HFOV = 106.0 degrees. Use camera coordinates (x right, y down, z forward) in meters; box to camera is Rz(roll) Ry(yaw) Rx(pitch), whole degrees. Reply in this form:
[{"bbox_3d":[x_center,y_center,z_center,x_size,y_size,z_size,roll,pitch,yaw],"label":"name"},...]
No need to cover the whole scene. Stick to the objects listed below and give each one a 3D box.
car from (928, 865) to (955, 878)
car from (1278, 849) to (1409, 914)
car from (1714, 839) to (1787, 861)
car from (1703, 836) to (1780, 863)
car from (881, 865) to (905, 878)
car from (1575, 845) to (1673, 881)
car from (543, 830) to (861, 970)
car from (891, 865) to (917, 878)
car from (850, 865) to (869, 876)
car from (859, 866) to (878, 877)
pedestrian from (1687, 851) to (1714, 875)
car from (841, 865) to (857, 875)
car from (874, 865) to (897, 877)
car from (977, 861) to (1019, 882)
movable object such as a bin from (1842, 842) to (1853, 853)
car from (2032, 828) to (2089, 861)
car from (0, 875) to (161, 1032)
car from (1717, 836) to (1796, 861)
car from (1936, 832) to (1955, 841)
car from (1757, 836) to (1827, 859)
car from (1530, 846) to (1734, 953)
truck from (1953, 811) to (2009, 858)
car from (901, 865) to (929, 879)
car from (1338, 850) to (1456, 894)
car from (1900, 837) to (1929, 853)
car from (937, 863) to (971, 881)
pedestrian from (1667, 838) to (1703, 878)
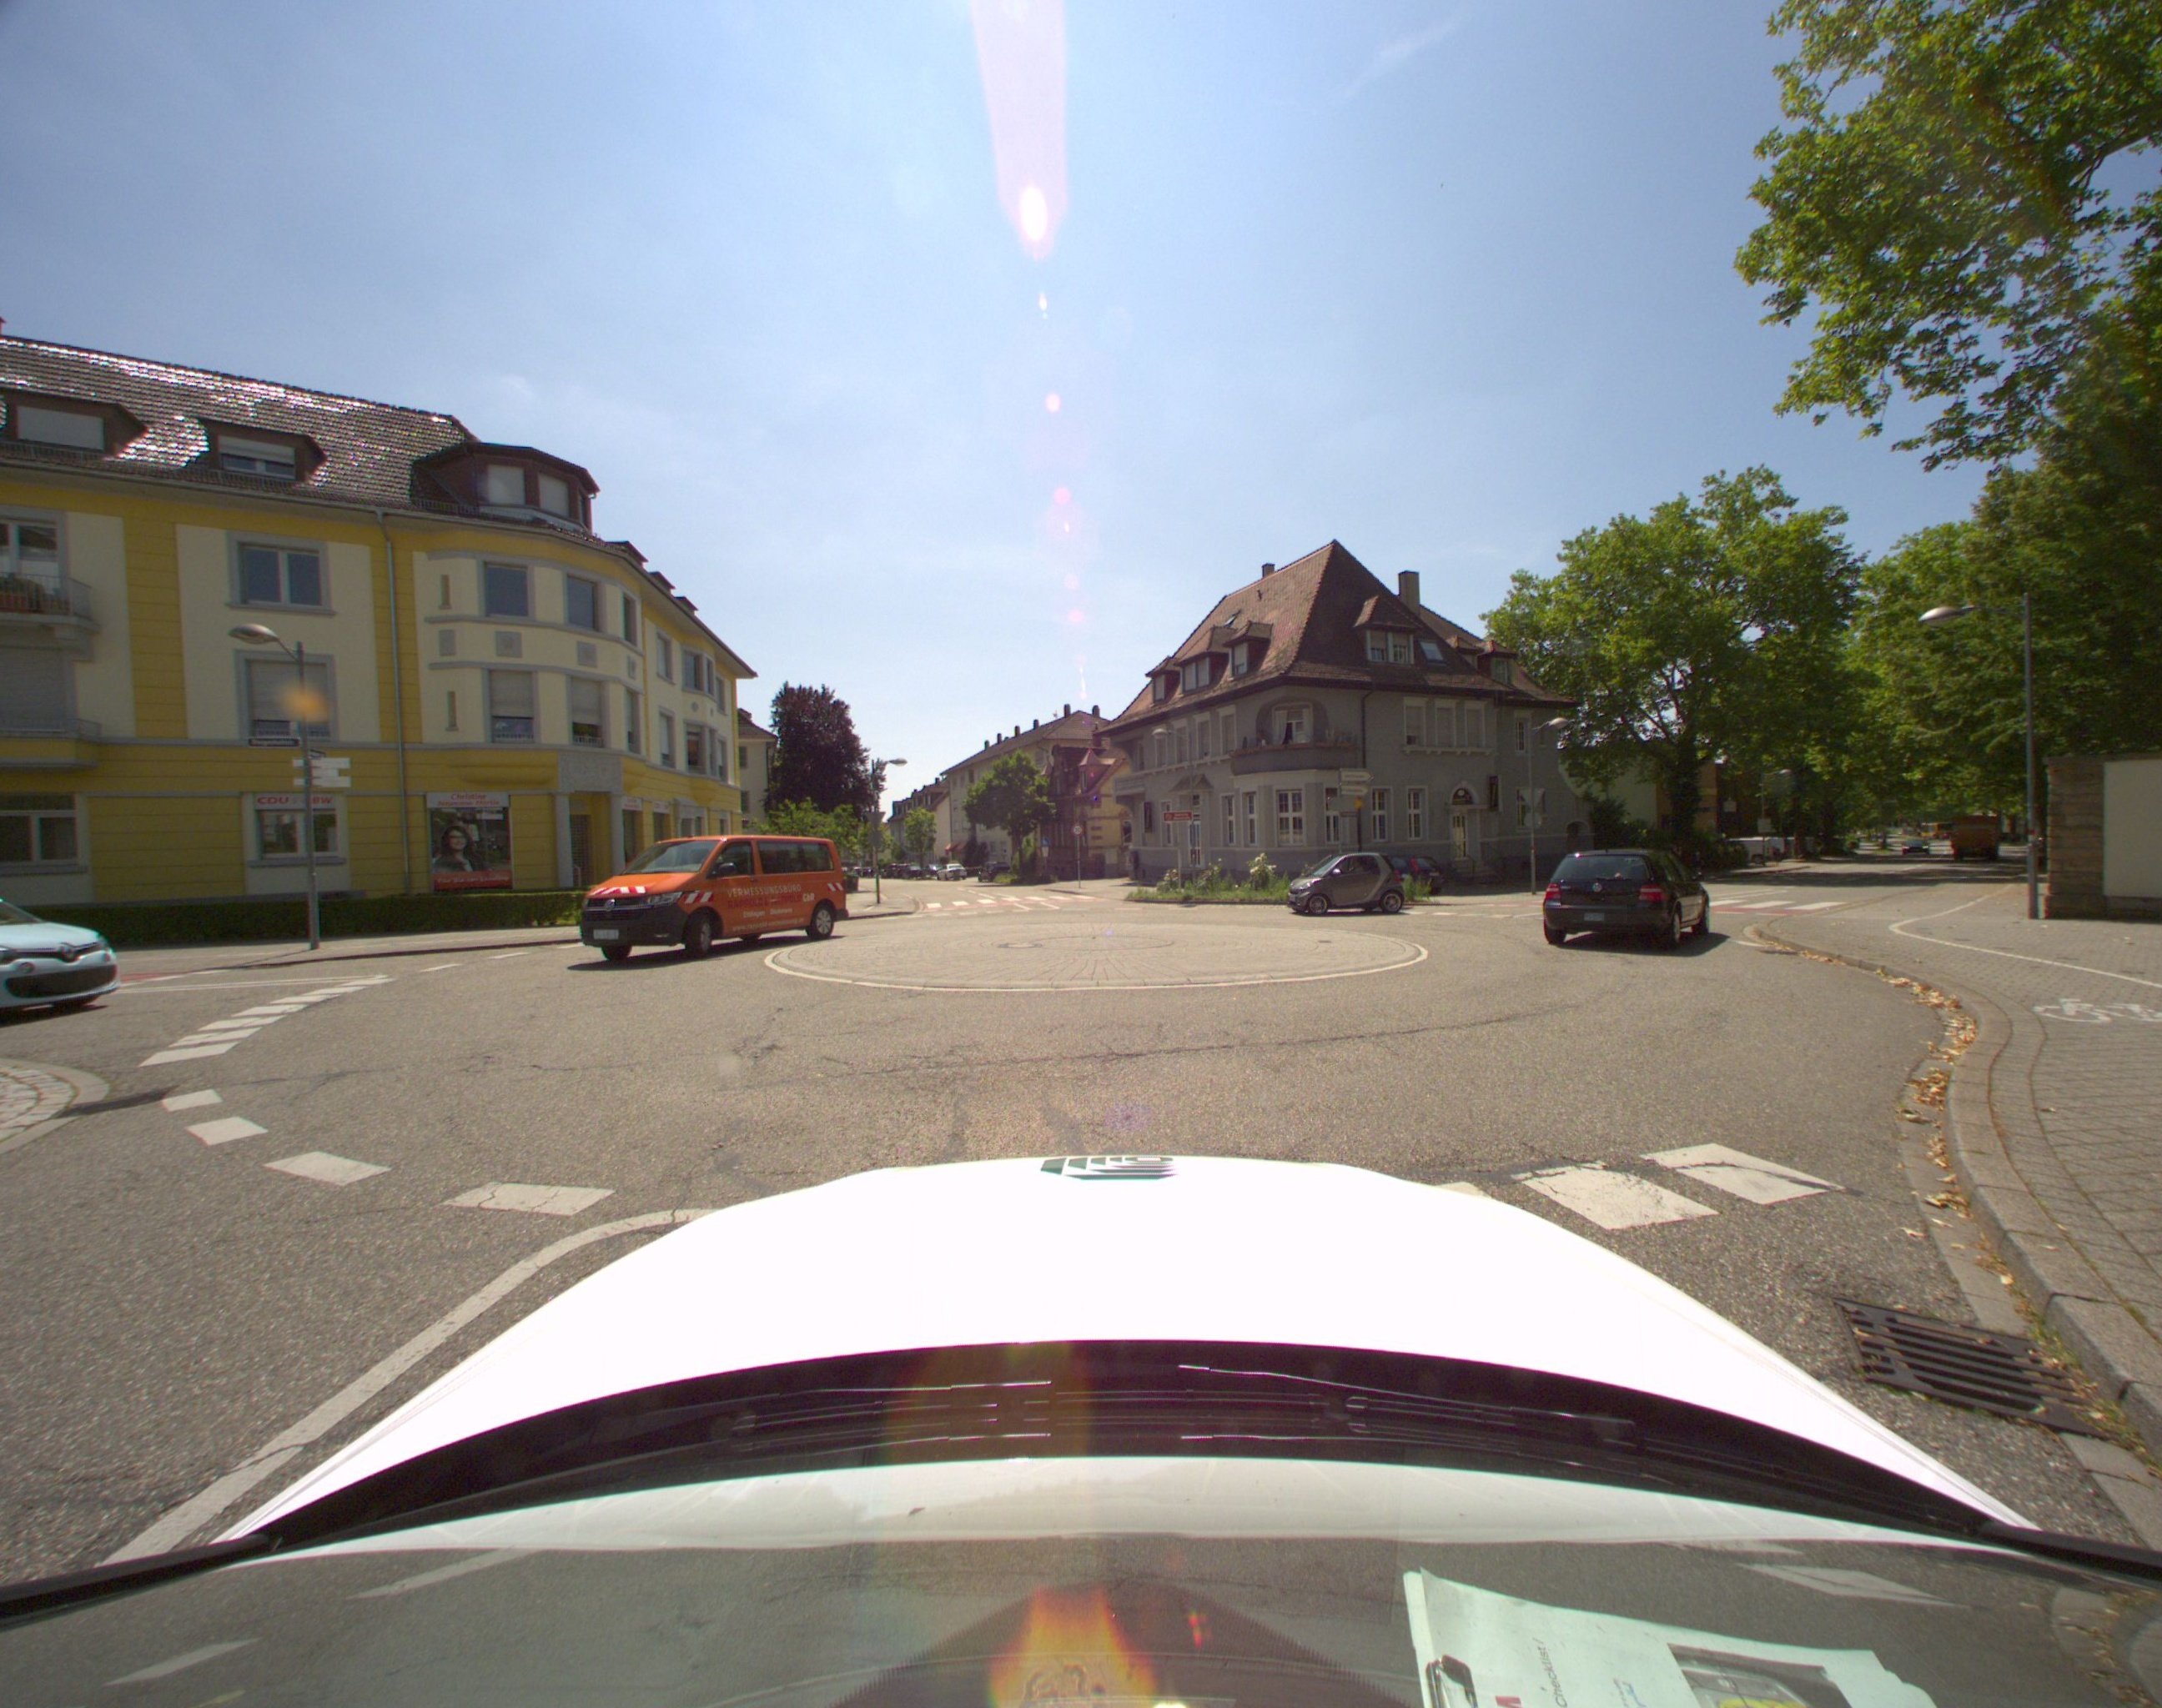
[{"bbox_3d":[-16.126,2.000,93.751,2.003,1.509,4.383,-1,-1,-25],"label":"car"},{"bbox_3d":[6.629,0.684,20.735,2.775,1.530,1.567,-1,-1,-5],"label":"car"},{"bbox_3d":[49.865,-0.329,60.724,1.878,1.515,3.953,-1,1,-41],"label":"car"},{"bbox_3d":[46.614,-0.345,57.521,1.878,1.792,3.953,-1,1,-41],"label":"car"},{"bbox_3d":[-22.858,2.105,99.090,2.003,1.509,4.383,-1,-1,-25],"label":"car"},{"bbox_3d":[25.176,0.416,37.827,1.729,1.546,3.361,-1,0,-28],"label":"car"},{"bbox_3d":[-6.162,0.602,14.101,1.927,1.959,5.046,-1,1,20],"label":"car"},{"bbox_3d":[-20.546,2.025,94.373,2.003,1.509,4.383,-1,-1,-25],"label":"car"},{"bbox_3d":[-33.556,2.486,123.261,2.003,1.509,4.383,-1,-1,-25],"label":"car"},{"bbox_3d":[-30.784,2.494,117.879,2.003,1.509,4.383,-1,-1,-25],"label":"car"},{"bbox_3d":[29.222,0.421,38.403,0.901,1.122,0.748,-1,-1,-34],"label":"pedestrian"},{"bbox_3d":[-37.916,2.618,133.299,2.003,1.488,3.968,0,-1,-24],"label":"car"},{"bbox_3d":[-24.872,2.181,103.503,2.003,1.509,4.383,-1,-1,-25],"label":"car"},{"bbox_3d":[-6.600,1.375,64.184,2.003,1.509,4.383,-1,-1,-25],"label":"car"},{"bbox_3d":[73.267,-0.618,77.875,0.623,1.048,0.619,-1,0,-32],"label":"movable object such as a bin"},{"bbox_3d":[52.180,-0.502,43.361,4.803,1.557,1.727,-2,-1,-38],"label":"car"},{"bbox_3d":[-13.053,1.023,8.642,4.152,1.525,1.654,0,0,-12],"label":"car"},{"bbox_3d":[51.741,-0.443,62.443,1.913,1.804,4.385,-1,1,-41],"label":"car"},{"bbox_3d":[148.042,-2.940,139.499,1.749,1.374,3.753,-3,-1,39],"label":"car"},{"bbox_3d":[58.561,-0.584,67.133,1.913,1.804,4.093,-1,1,-41],"label":"car"},{"bbox_3d":[8.866,0.603,12.978,4.079,1.447,1.696,-1,0,-41],"label":"car"},{"bbox_3d":[63.856,-1.311,57.760,5.798,3.134,2.350,0,-1,-40],"label":"truck"},{"bbox_3d":[-18.117,1.935,88.823,2.003,1.509,4.383,-1,-1,-25],"label":"car"},{"bbox_3d":[11.415,0.652,29.622,1.729,1.460,3.758,-1,-1,-28],"label":"car"},{"bbox_3d":[80.443,-0.841,78.589,4.417,1.426,1.753,-1,-1,-42],"label":"car"},{"bbox_3d":[-11.720,1.657,75.076,2.003,1.509,4.383,-1,-1,-25],"label":"car"},{"bbox_3d":[26.885,0.161,36.270,1.115,1.742,0.866,-1,-1,-29],"label":"pedestrian"}]
